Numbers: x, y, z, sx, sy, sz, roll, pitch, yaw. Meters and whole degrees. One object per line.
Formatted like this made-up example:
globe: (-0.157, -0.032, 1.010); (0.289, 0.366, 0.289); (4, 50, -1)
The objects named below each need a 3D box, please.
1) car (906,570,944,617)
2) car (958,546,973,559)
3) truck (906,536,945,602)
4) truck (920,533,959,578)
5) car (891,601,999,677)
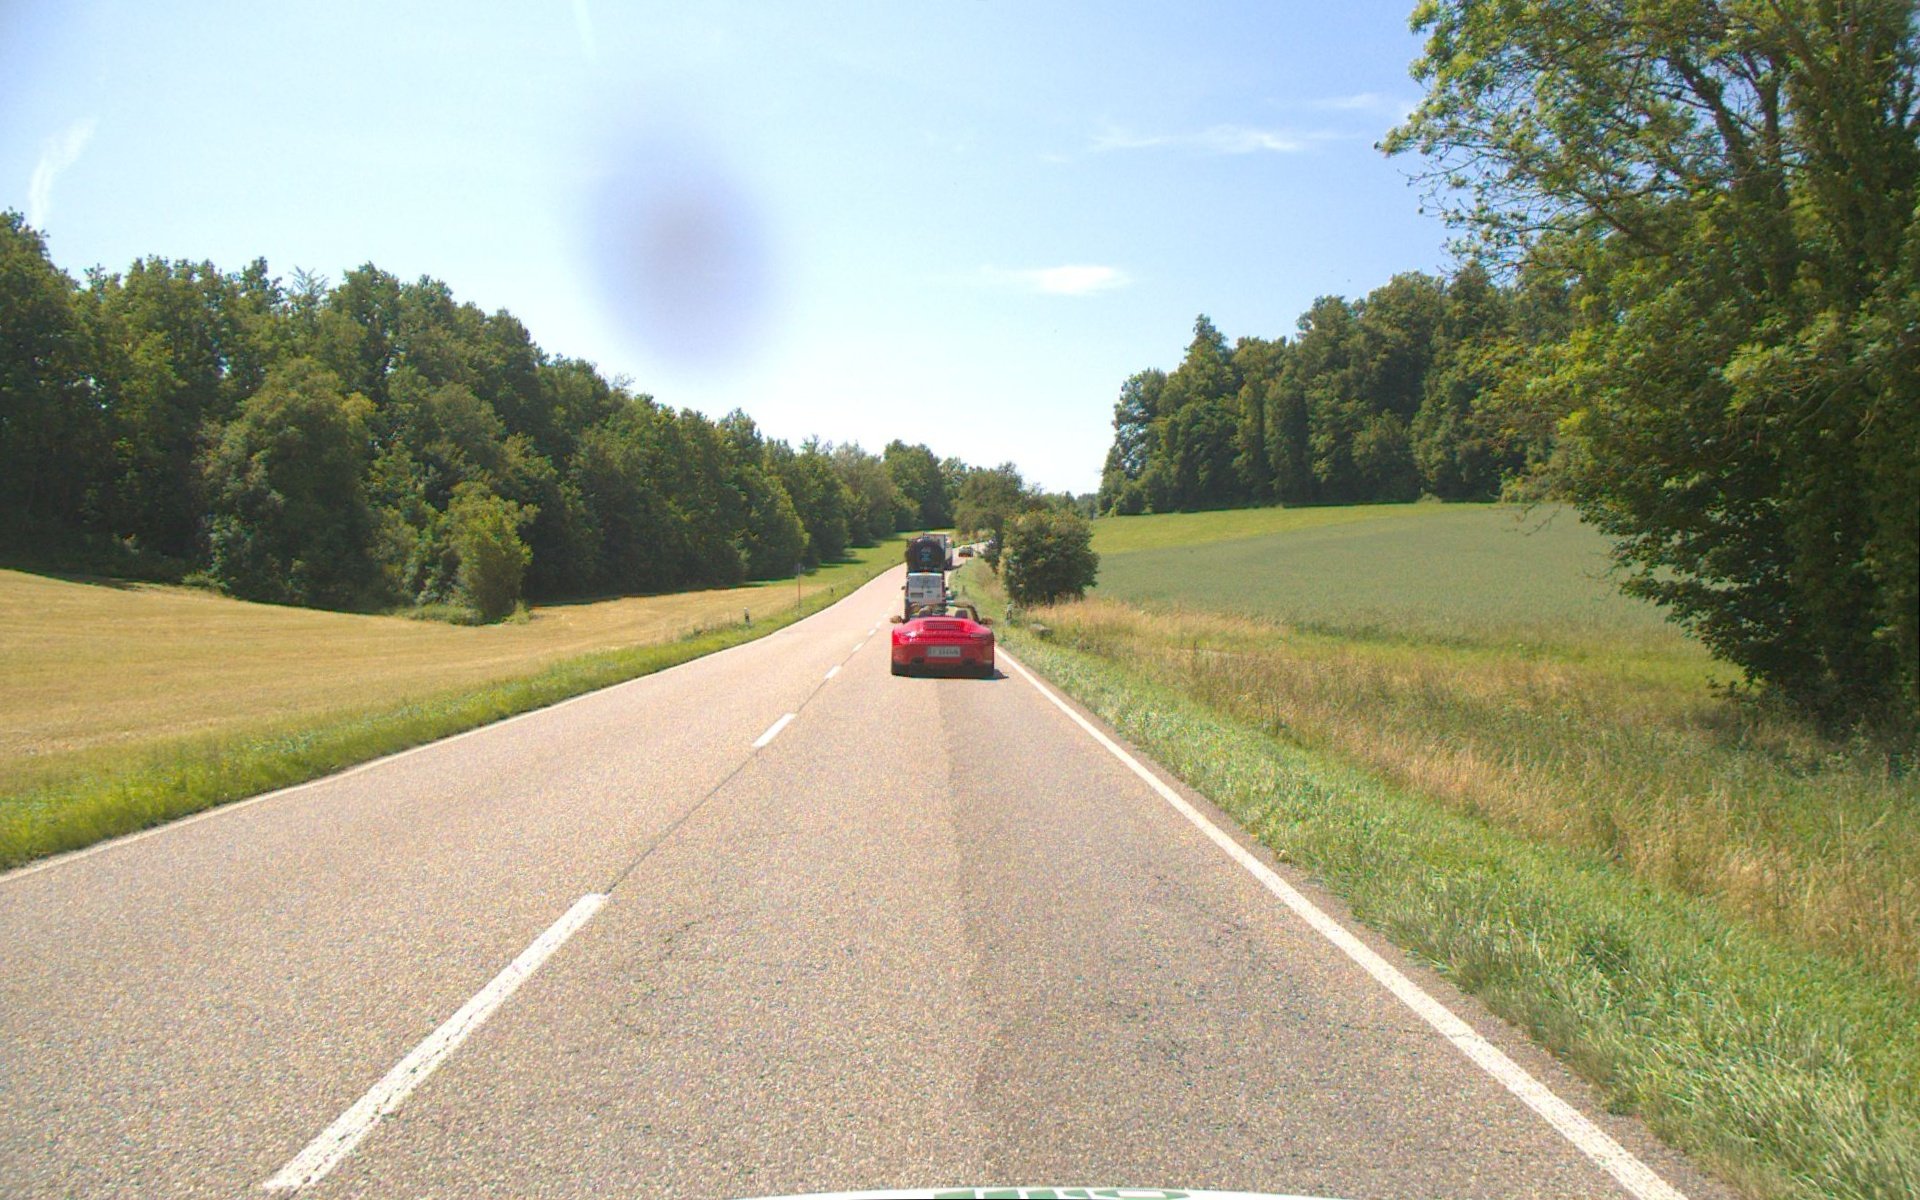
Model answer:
car: (-1.573, -0.309, 74.351); (1.645, 1.933, 4.009); (0, 2, -1)
car: (0.733, -6.603, 229.623); (1.662, 1.522, 3.715); (-3, 2, 5)
truck: (-2.377, -2.017, 111.132); (2.355, 4.120, 12.545); (1, 1, -2)
truck: (-2.331, -5.235, 192.417); (3.647, 4.740, 12.042); (0, 4, 3)
car: (-0.300, 0.660, 30.196); (1.844, 1.277, 4.008); (0, 0, -1)
